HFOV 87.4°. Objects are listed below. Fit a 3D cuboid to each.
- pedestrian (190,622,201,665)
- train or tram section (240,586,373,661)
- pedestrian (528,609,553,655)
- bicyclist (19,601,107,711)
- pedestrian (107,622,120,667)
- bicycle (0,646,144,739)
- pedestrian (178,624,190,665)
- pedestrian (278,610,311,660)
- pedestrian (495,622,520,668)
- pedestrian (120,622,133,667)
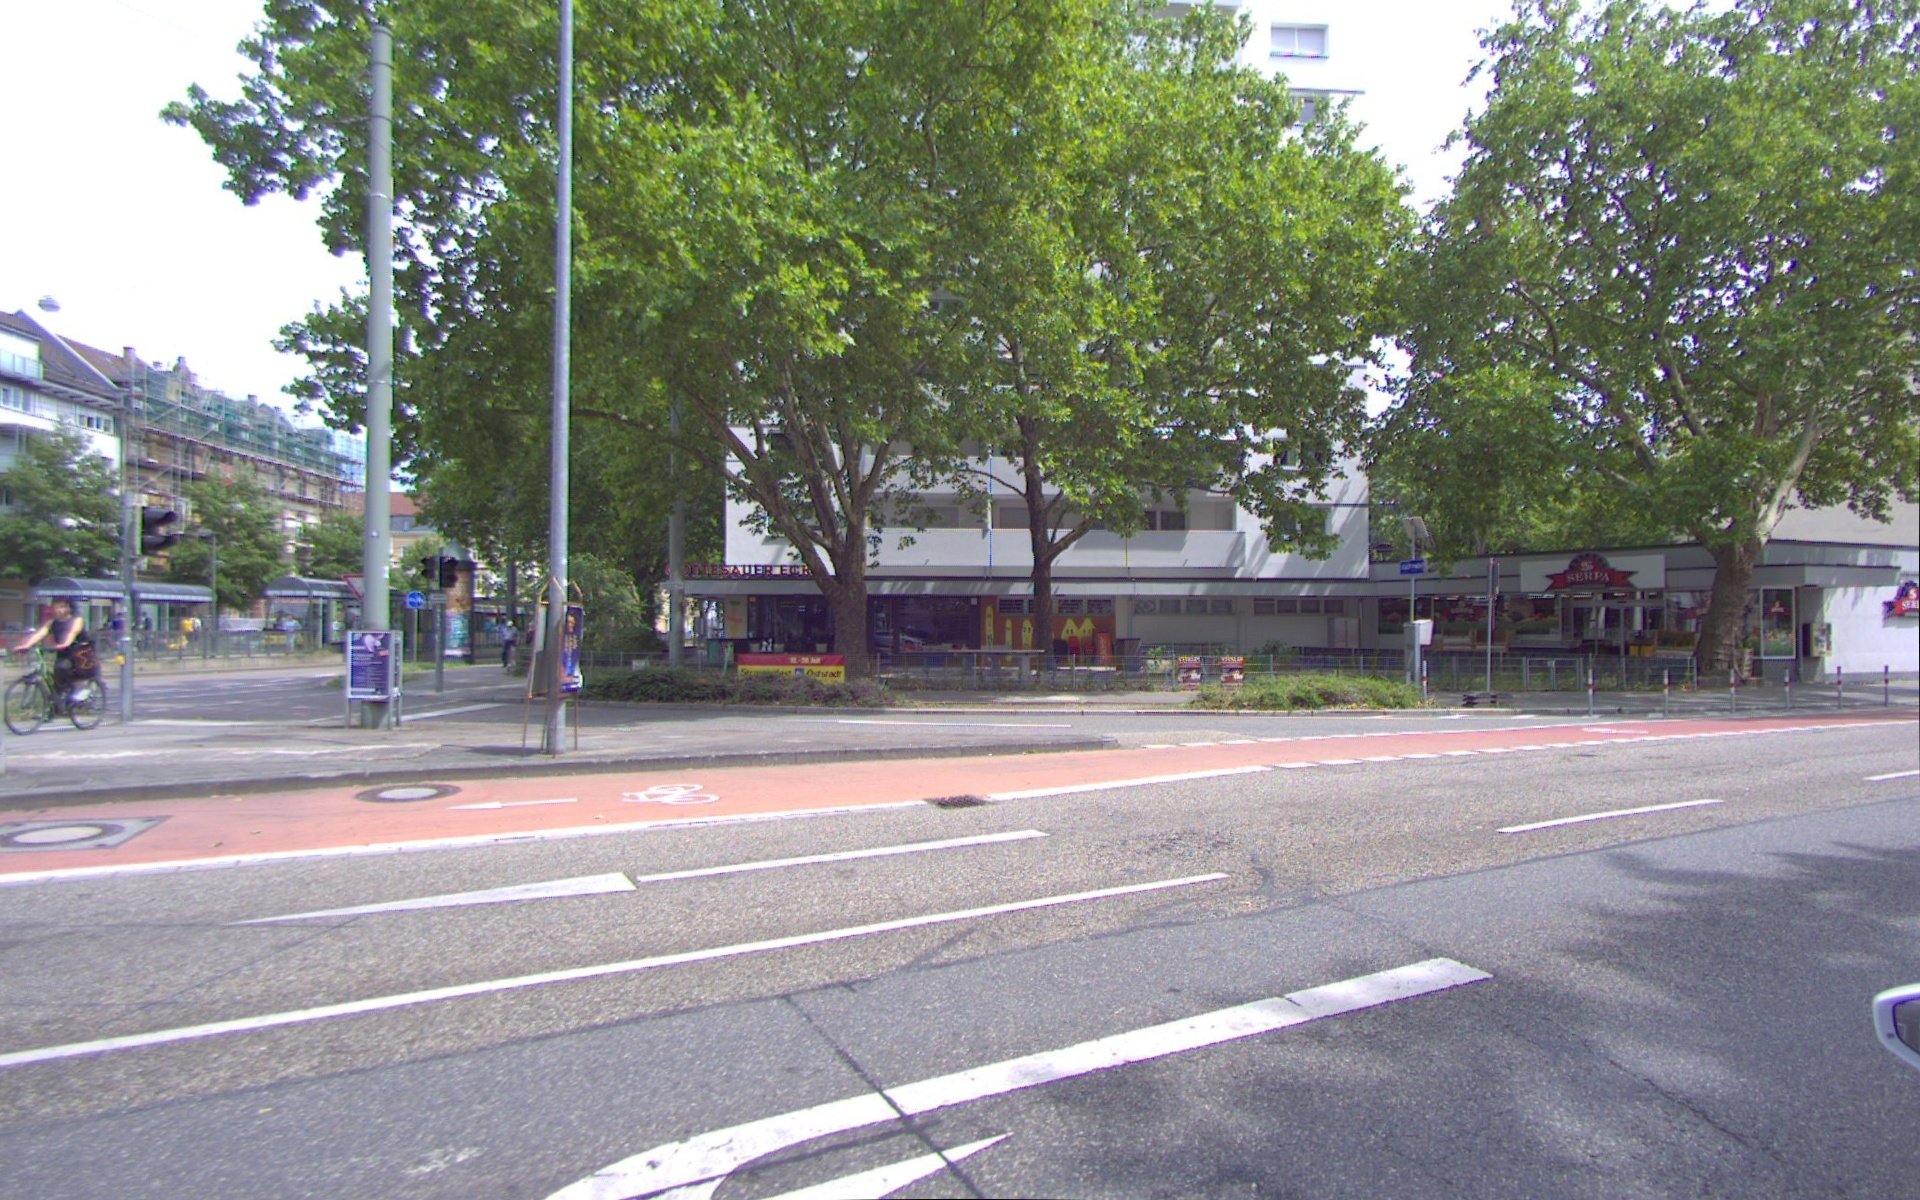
[{"bbox_3d":[-35.982,2.040,47.267,0.320,1.980,0.312,0,-2,-15],"label":"pedestrian"},{"bbox_3d":[-31.723,1.281,49.157,2.322,3.358,7.511,0,-3,-7],"label":"train or tram section"},{"bbox_3d":[-15.253,1.173,36.512,0.683,1.657,0.684,0,-2,-8],"label":"pedestrian"},{"bbox_3d":[-11.519,0.718,12.919,0.483,1.360,0.752,0,-3,-9],"label":"bicyclist"},{"bbox_3d":[-36.988,1.943,43.881,0.320,1.980,0.312,0,-2,-15],"label":"pedestrian"},{"bbox_3d":[-11.547,1.173,13.009,0.615,1.108,1.968,0,-4,-10],"label":"bicycle"},{"bbox_3d":[-36.346,2.073,47.069,0.320,1.908,0.312,0,-2,-15],"label":"pedestrian"},{"bbox_3d":[-27.707,1.452,41.816,0.837,2.040,0.872,-1,-1,-6],"label":"pedestrian"},{"bbox_3d":[-16.393,1.616,36.392,0.683,1.645,0.505,0,-2,-8],"label":"pedestrian"},{"bbox_3d":[-36.522,1.951,44.023,0.320,1.980,0.312,0,-2,-15],"label":"pedestrian"}]
